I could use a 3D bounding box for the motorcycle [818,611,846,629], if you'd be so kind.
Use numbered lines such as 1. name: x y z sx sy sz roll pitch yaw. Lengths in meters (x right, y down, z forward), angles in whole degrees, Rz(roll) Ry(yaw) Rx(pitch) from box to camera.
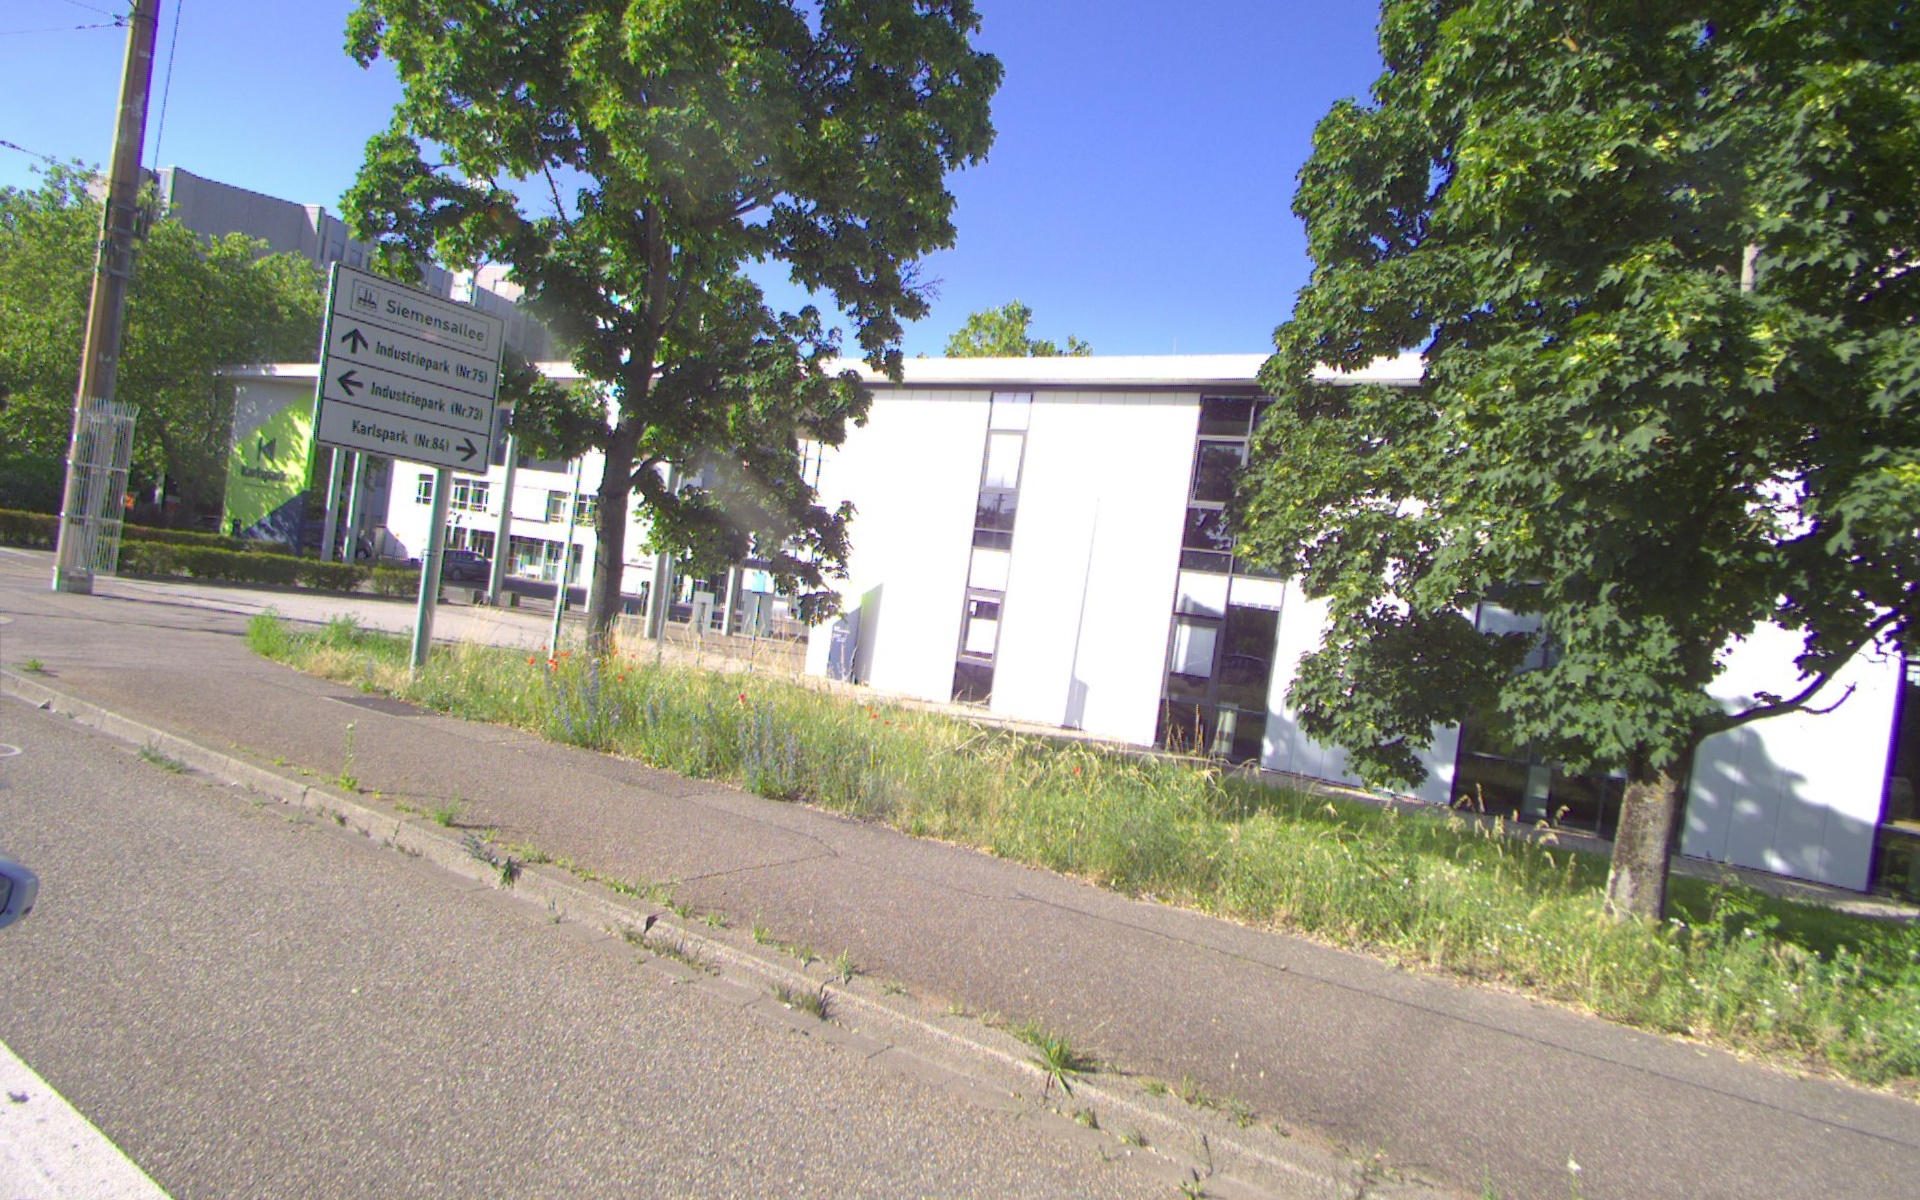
1. motorcycle: -8.597 1.327 67.594 1.701 0.959 0.653 7 0 17

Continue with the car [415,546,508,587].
1. car: -26.316 -1.722 53.195 1.918 1.597 4.000 7 -1 23

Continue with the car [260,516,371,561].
1. car: -35.932 -3.376 56.257 2.052 1.778 4.901 7 -1 17

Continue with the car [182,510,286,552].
1. car: -42.313 -4.000 58.717 1.861 1.706 4.468 7 -1 26
